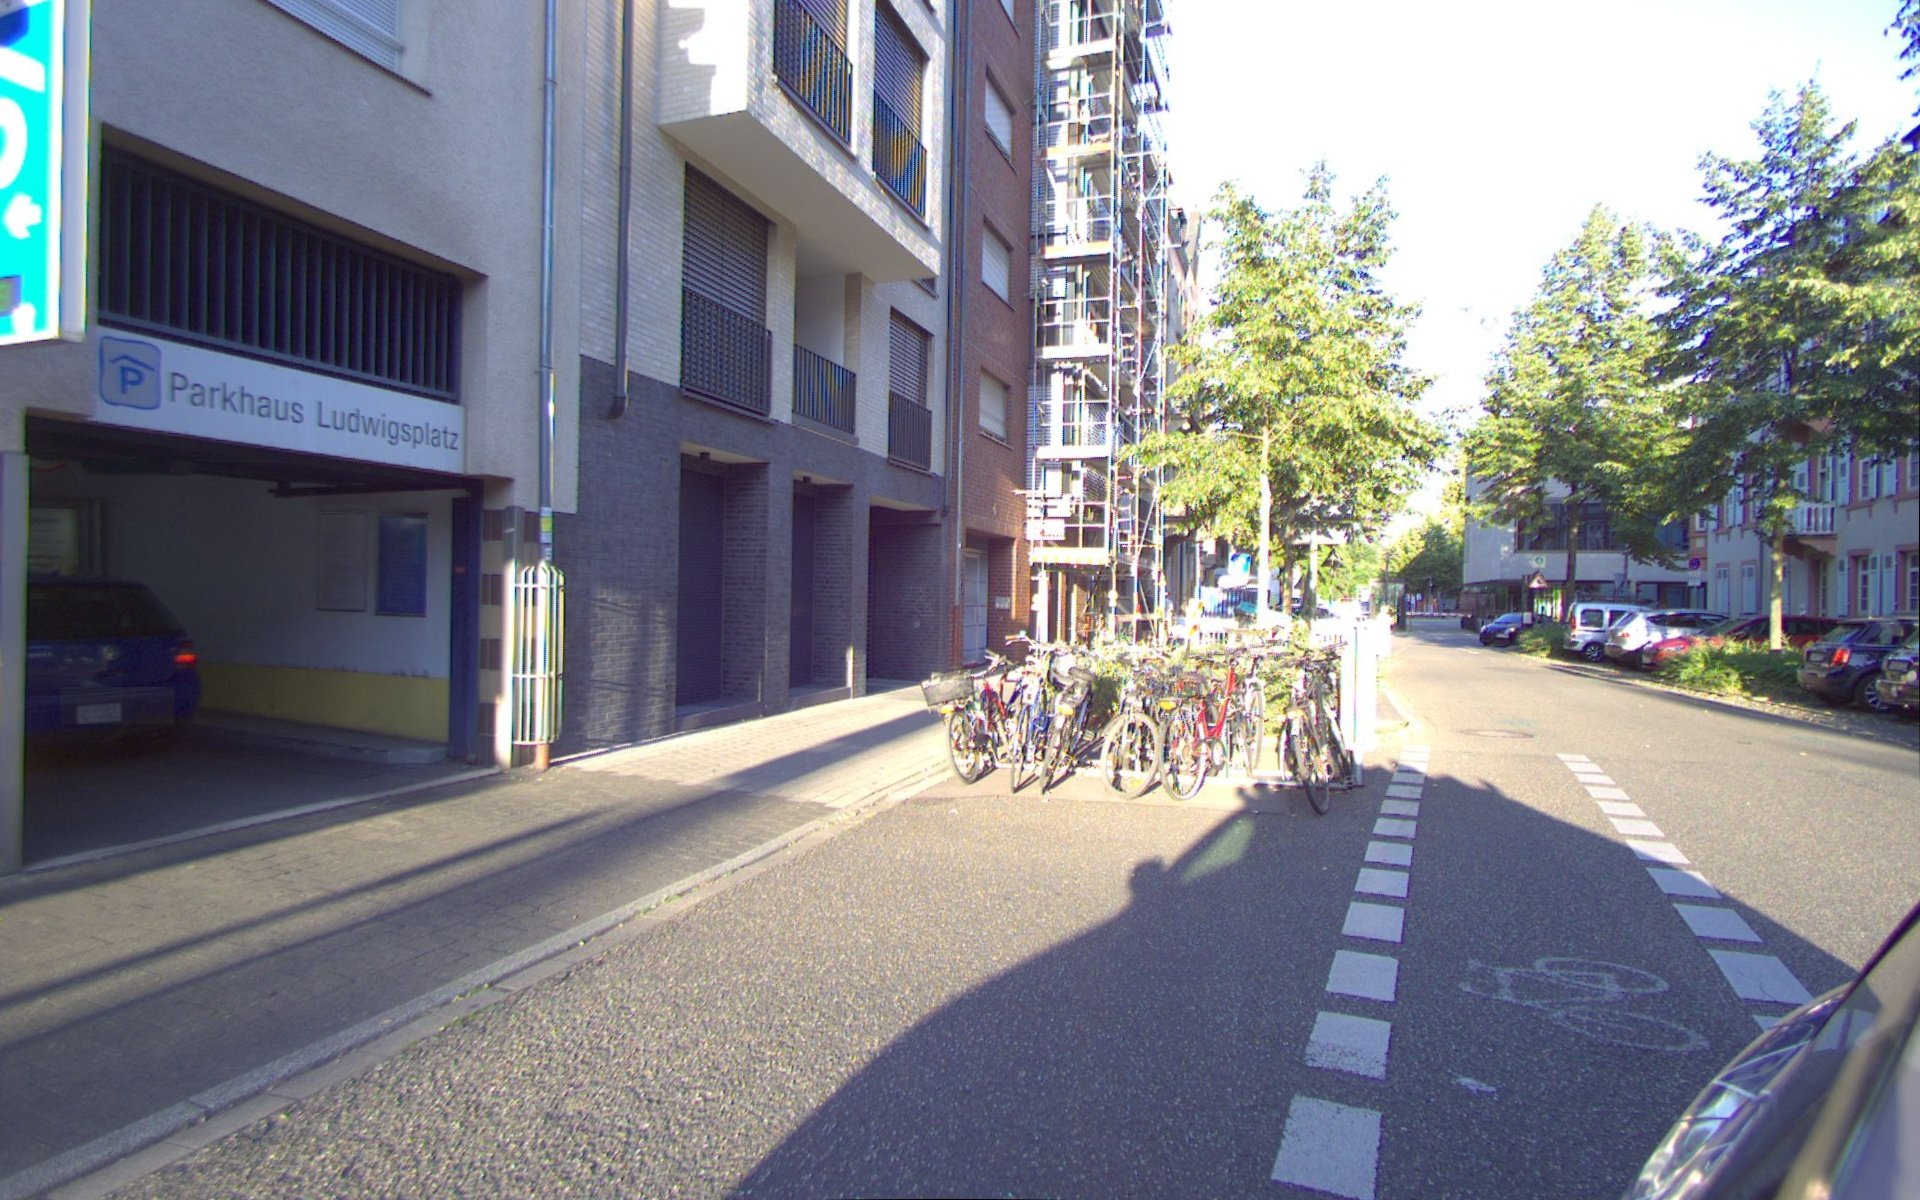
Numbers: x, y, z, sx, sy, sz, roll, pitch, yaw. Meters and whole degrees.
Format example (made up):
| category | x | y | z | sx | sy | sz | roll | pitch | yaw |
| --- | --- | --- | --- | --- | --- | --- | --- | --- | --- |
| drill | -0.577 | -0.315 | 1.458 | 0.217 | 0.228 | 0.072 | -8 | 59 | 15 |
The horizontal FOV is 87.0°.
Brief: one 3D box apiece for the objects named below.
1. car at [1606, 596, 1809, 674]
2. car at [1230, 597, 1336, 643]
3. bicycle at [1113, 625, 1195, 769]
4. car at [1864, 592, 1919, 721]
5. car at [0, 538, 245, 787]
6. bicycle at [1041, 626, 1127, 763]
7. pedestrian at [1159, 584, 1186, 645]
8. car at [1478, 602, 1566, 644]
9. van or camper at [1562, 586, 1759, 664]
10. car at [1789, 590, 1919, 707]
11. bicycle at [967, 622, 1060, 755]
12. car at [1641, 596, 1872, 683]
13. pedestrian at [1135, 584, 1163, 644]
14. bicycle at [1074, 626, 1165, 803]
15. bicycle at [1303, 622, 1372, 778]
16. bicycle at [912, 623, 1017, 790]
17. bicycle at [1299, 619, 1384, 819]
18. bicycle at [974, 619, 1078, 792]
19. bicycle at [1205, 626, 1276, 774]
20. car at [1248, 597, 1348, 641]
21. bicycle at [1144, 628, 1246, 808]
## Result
| category | x | y | z | sx | sy | sz | roll | pitch | yaw |
| --- | --- | --- | --- | --- | --- | --- | --- | --- | --- |
| car | 18.770 | 0.837 | 25.623 | 3.650 | 1.691 | 1.847 | 3 | 1 | 19 |
| car | 13.214 | 0.767 | 41.406 | 3.955 | 1.705 | 1.876 | 2 | 0 | 23 |
| bicycle | 1.824 | 0.839 | 9.372 | 0.483 | 1.164 | 1.541 | 1 | 0 | 20 |
| car | 14.666 | 0.839 | 13.074 | 3.957 | 1.691 | 1.847 | 3 | 1 | 19 |
| car | -7.909 | 0.298 | 7.802 | 4.059 | 1.582 | 1.686 | 3 | 1 | 15 |
| bicycle | 1.217 | 0.850 | 9.730 | 0.463 | 1.158 | 1.541 | 1 | 0 | 20 |
| pedestrian | 6.474 | 0.431 | 30.837 | 0.734 | 1.806 | 0.652 | 1 | 0 | 19 |
| car | 23.629 | 0.977 | 42.539 | 3.627 | 1.587 | 1.858 | 2 | 1 | -36 |
| van or camper | 20.787 | 0.702 | 30.270 | 4.397 | 2.030 | 1.847 | 3 | 1 | 19 |
| car | 15.353 | 0.776 | 15.456 | 3.650 | 1.691 | 1.847 | 3 | 1 | 19 |
| bicycle | 0.553 | 0.816 | 9.934 | 0.453 | 1.146 | 1.541 | 1 | 0 | 20 |
| car | 18.047 | 0.835 | 23.151 | 3.650 | 1.691 | 1.847 | 3 | 1 | 19 |
| pedestrian | 5.761 | 0.426 | 30.862 | 0.734 | 1.806 | 0.652 | 1 | 0 | 21 |
| bicycle | 1.257 | 0.808 | 7.776 | 0.377 | 1.174 | 1.541 | 1 | 0 | 20 |
| bicycle | 3.309 | 0.817 | 8.890 | 0.503 | 1.193 | 1.541 | 1 | 0 | 20 |
| bicycle | 0.064 | 0.811 | 8.280 | 0.383 | 1.198 | 1.396 | 1 | 0 | 20 |
| bicycle | 2.736 | 0.779 | 7.284 | 0.493 | 1.236 | 1.541 | 1 | 0 | 20 |
| bicycle | 0.557 | 0.774 | 8.063 | 0.382 | 1.204 | 1.541 | 1 | 0 | 20 |
| bicycle | 2.578 | 0.855 | 9.224 | 0.483 | 1.178 | 1.541 | 1 | 0 | 20 |
| car | 14.605 | 0.800 | 43.716 | 3.955 | 1.705 | 1.876 | 2 | 0 | 23 |
| bicycle | 1.801 | 0.818 | 7.632 | 0.414 | 1.171 | 1.538 | 1 | 0 | 25 |
